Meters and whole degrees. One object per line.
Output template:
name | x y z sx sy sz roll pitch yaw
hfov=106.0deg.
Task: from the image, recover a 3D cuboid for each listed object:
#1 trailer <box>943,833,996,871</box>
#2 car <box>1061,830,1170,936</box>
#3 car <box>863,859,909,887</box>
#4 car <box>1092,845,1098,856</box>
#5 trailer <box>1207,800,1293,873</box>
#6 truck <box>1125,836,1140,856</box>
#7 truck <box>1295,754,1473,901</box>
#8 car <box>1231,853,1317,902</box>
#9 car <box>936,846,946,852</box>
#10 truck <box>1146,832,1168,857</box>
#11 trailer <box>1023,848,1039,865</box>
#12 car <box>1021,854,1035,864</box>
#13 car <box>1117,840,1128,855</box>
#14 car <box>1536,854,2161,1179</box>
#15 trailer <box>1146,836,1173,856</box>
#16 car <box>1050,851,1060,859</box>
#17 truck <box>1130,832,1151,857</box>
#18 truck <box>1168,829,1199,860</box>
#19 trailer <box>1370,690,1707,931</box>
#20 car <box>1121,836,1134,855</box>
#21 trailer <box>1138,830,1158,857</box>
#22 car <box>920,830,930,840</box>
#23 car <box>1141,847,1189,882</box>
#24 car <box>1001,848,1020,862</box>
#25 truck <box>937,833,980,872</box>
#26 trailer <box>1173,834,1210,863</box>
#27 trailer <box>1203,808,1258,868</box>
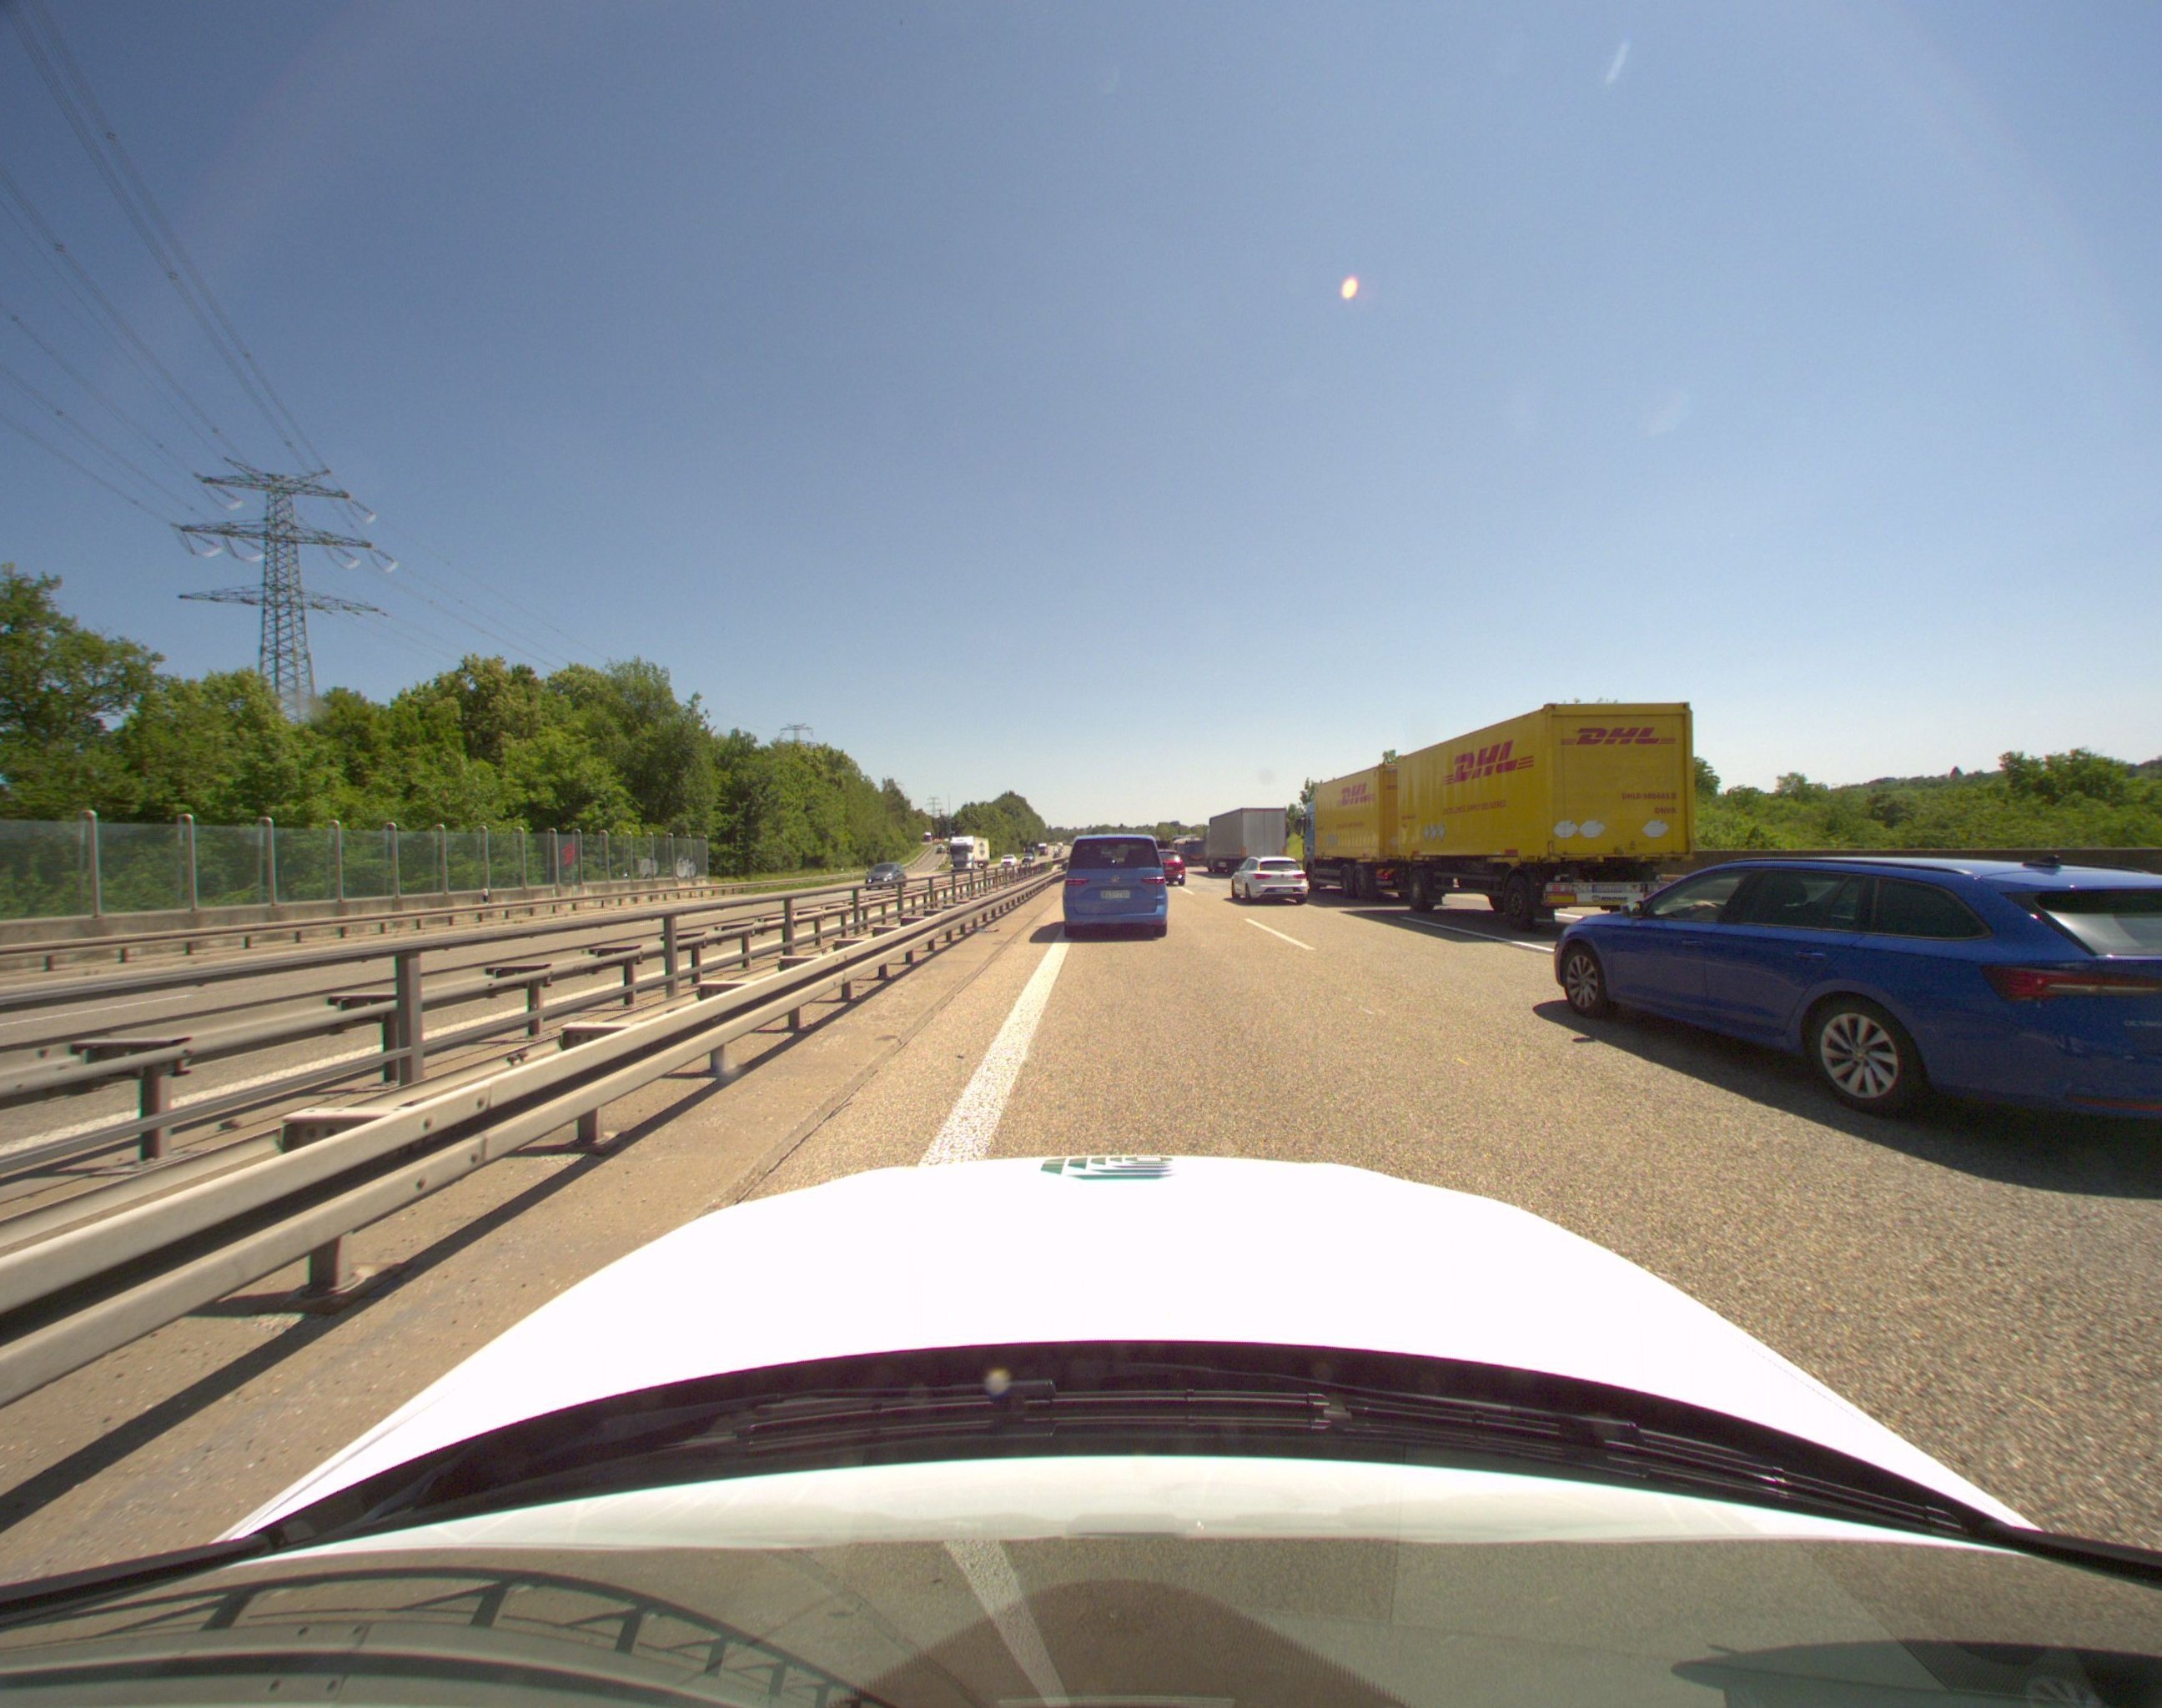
trailer | -13.825 -0.240 102.586 3.974 4.235 14.046 -3 0 2
car | 0.682 0.516 16.127 1.894 1.838 4.002 0 0 2
car | -11.138 1.082 46.739 1.646 1.462 3.544 -3 0 2
car | 4.429 -1.125 257.825 1.986 3.413 4.000 0 0 1
trailer | 10.574 -1.029 52.576 2.951 4.049 13.756 -1 0 1
truck | 12.633 -1.861 199.521 3.057 4.920 10.691 0 0 1
truck | 9.790 -0.718 27.810 2.754 4.109 9.958 0 0 2
car | 5.850 0.658 25.127 1.860 1.361 4.003 0 0 2
car | -34.548 -1.207 201.546 1.991 1.576 5.264 0 0 -6
truck | 12.859 -1.544 138.558 3.610 4.094 7.531 0 0 3
trailer | -9.116 0.424 147.774 2.157 2.777 5.379 -5 0 2
car | -9.269 0.842 142.855 1.863 1.625 4.631 -1 0 2
car | 8.856 -1.316 173.060 2.276 3.008 5.580 0 0 4
car | 5.286 0.724 5.835 1.700 1.441 4.429 0 0 2
trailer | 12.371 -1.194 130.194 3.631 3.079 15.784 0 0 3
car | -5.541 0.227 175.284 1.785 1.572 4.002 0 0 2
truck | 13.242 -2.019 182.729 3.610 5.212 15.685 0 0 0
truck | 11.338 -1.081 90.802 2.734 3.311 7.135 0 1 1
trailer | 9.484 -0.722 18.632 2.754 4.117 9.382 0 0 2
car | 13.019 -2.238 228.273 3.207 5.257 8.146 0 0 1
trailer | 13.252 -2.042 162.330 3.631 5.136 13.086 0 0 3
car | -48.033 -5.810 250.345 2.074 2.880 6.692 -2 0 -17
car | 3.827 0.468 37.619 1.864 1.552 4.001 0 0 1
car | -9.153 0.167 105.900 1.742 1.696 4.387 -3 0 2
truck | -14.141 -0.200 94.505 3.991 4.228 4.860 -3 0 1
trailer | 11.229 -0.637 83.643 2.734 2.836 9.119 0 1 1
trailer | 10.746 -1.139 59.208 2.914 4.043 6.413 -1 1 1
